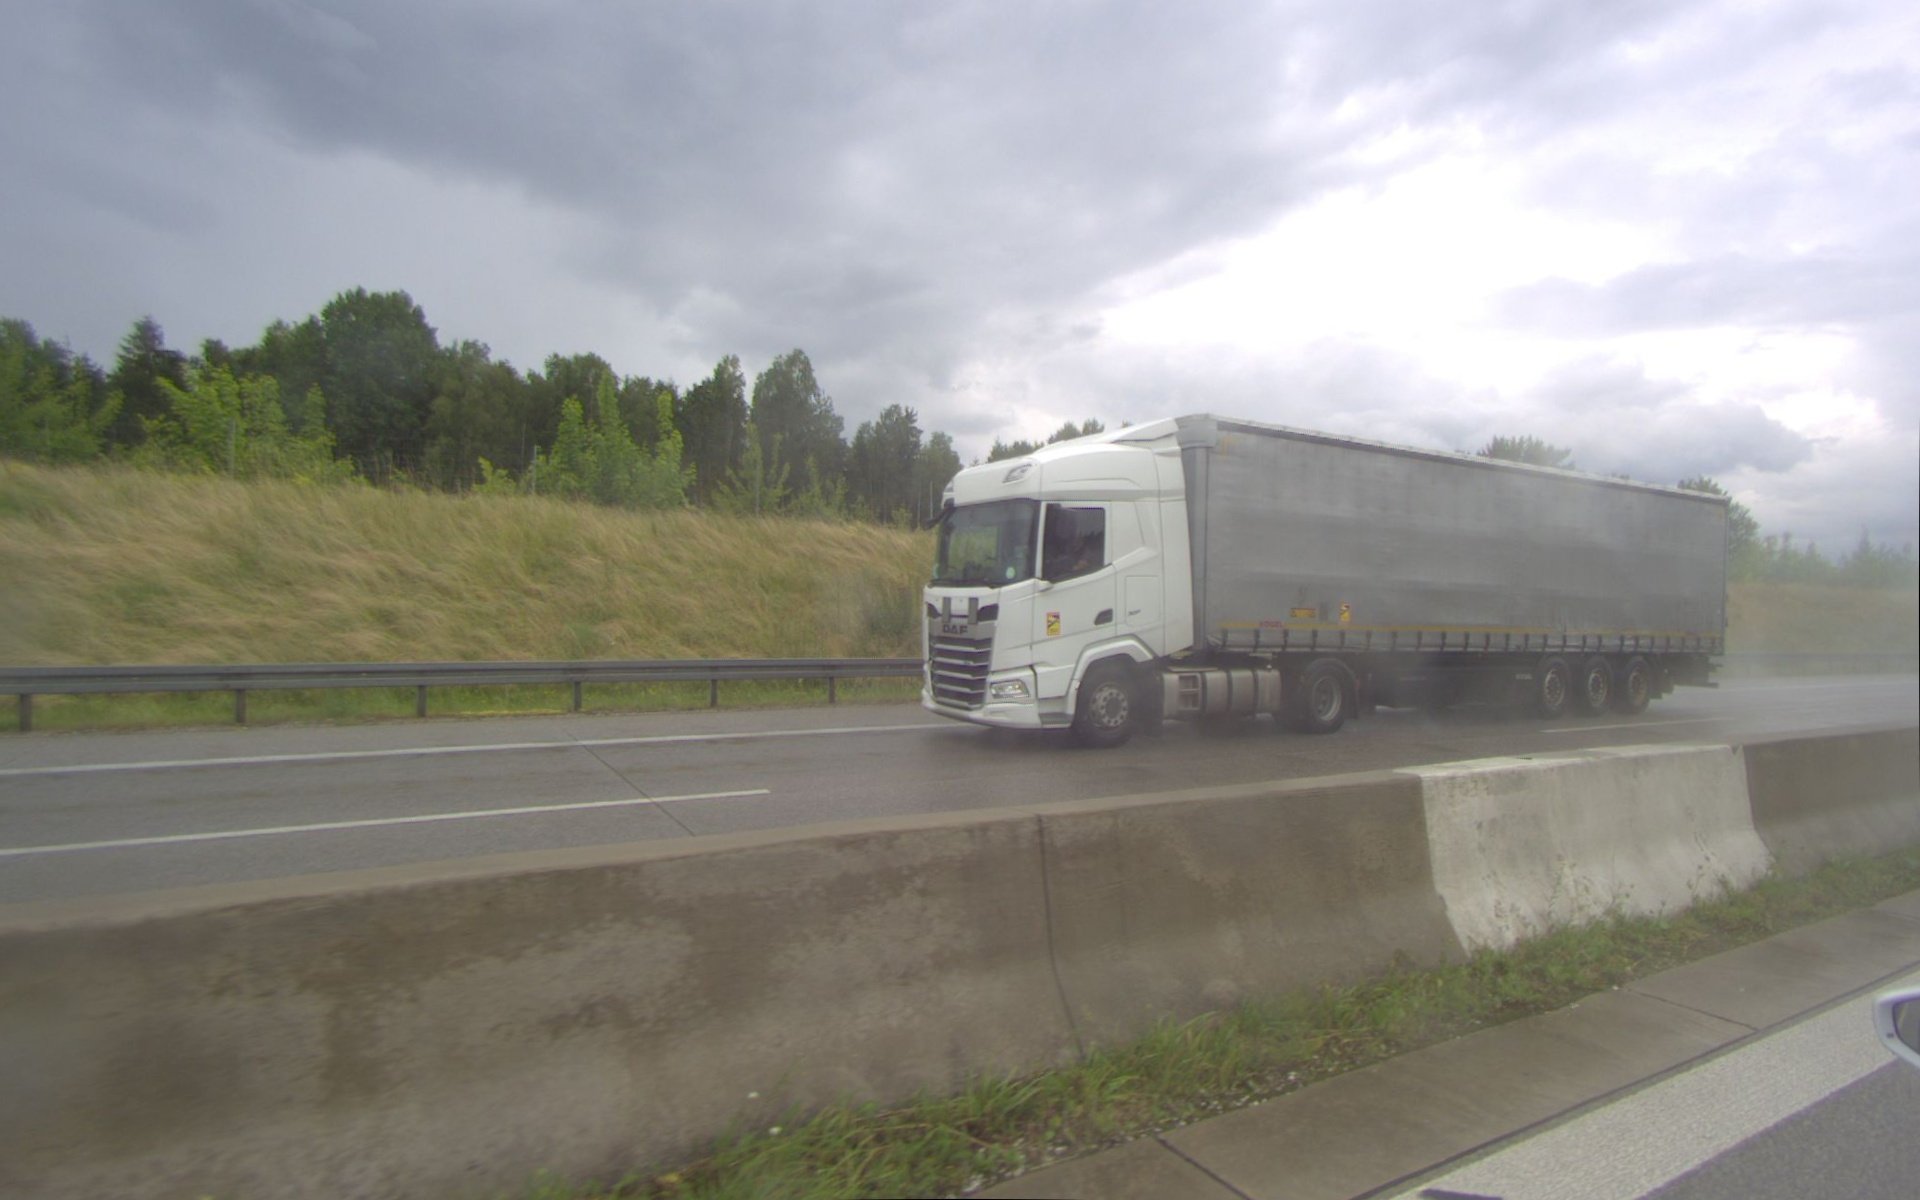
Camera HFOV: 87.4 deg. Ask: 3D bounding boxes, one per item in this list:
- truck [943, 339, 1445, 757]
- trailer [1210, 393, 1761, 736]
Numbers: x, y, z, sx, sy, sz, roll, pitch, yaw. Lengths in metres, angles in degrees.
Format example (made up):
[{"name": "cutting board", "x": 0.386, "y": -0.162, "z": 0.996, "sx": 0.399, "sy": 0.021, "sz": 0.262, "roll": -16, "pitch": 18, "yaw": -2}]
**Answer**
[{"name": "truck", "x": 3.334, "y": -0.511, "z": 13.882, "sx": 6.545, "sy": 4.581, "sz": 2.808, "roll": 1, "pitch": 0, "yaw": -30}, {"name": "trailer", "x": 9.551, "y": -0.366, "z": 17.446, "sx": 11.202, "sy": 4.581, "sz": 2.834, "roll": 1, "pitch": 0, "yaw": -30}]
